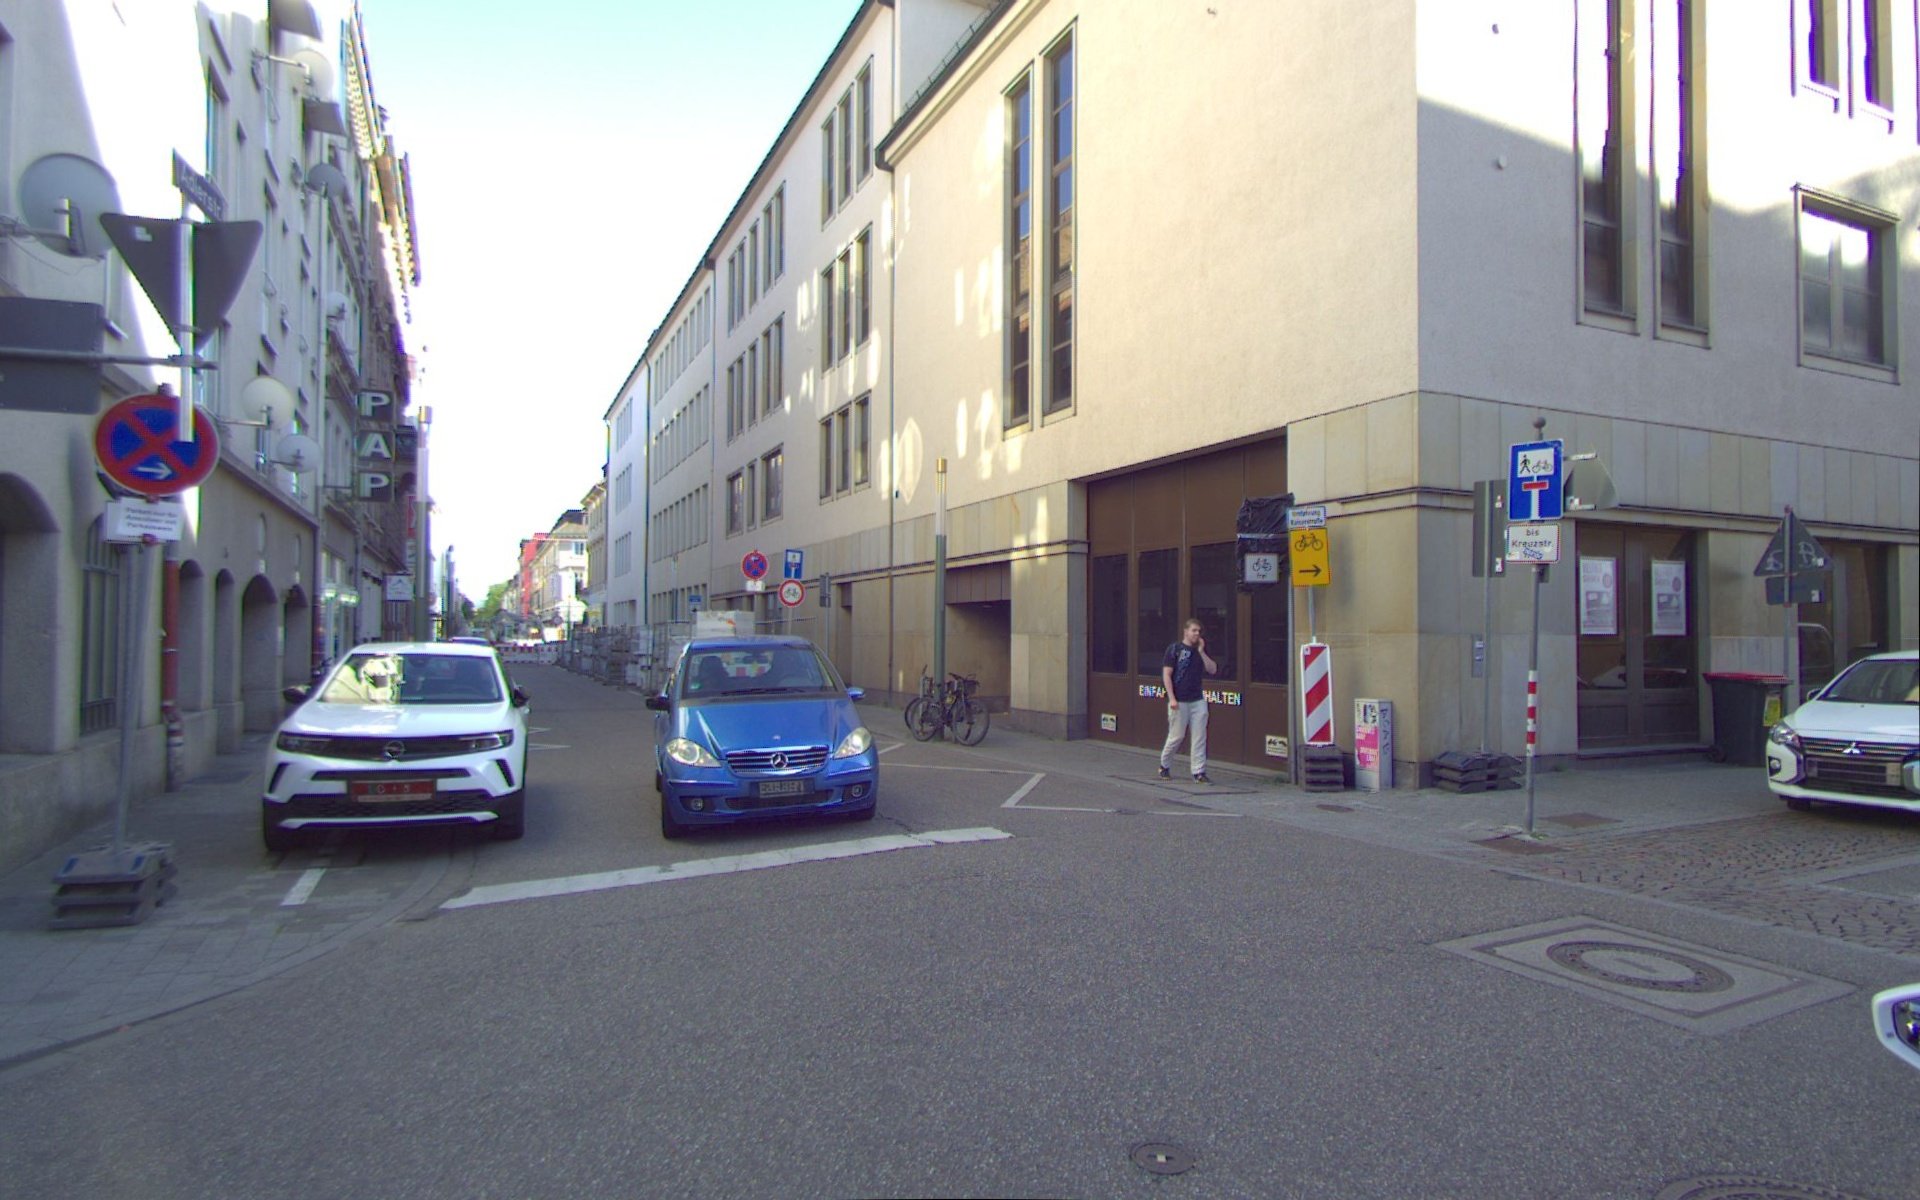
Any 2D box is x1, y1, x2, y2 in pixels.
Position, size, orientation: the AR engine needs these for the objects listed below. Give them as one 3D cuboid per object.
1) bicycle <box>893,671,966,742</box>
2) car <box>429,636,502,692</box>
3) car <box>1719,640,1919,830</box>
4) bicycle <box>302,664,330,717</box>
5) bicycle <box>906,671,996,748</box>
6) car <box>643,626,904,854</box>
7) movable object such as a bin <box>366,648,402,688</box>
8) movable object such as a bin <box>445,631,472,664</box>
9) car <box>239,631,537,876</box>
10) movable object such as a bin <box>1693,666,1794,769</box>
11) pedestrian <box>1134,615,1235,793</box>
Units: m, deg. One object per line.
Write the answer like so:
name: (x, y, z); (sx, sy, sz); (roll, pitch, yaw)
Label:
bicycle: (-0.516, 1.719, 16.492); (0.300, 1.064, 1.524); (1, -2, -42)
car: (-15.166, 1.917, 30.703); (1.772, 1.545, 3.970); (3, -3, -29)
car: (9.068, 1.137, 9.331); (3.750, 1.511, 1.731); (1, -3, -27)
bicycle: (-11.839, 1.649, 18.475); (0.215, 0.869, 1.060); (2, 0, -21)
bicycle: (-0.165, 1.652, 15.453); (0.300, 1.064, 1.770); (1, -2, -42)
car: (-1.939, 1.100, 9.422); (1.828, 1.614, 3.790); (-1, -2, -19)
movable object such as a bin: (-15.973, 1.877, 27.861); (0.828, 1.062, 0.748); (2, 0, -31)
movable object such as a bin: (-23.884, 2.266, 47.847); (1.071, 1.564, 0.901); (3, -3, -30)
car: (-4.693, 1.111, 8.815); (1.718, 1.614, 3.949); (2, -3, -22)
movable object such as a bin: (9.161, 1.351, 11.756); (0.583, 1.115, 0.734); (2, 0, -25)
pedestrian: (2.492, 1.129, 11.193); (0.710, 1.878, 0.853); (3, -4, -38)
